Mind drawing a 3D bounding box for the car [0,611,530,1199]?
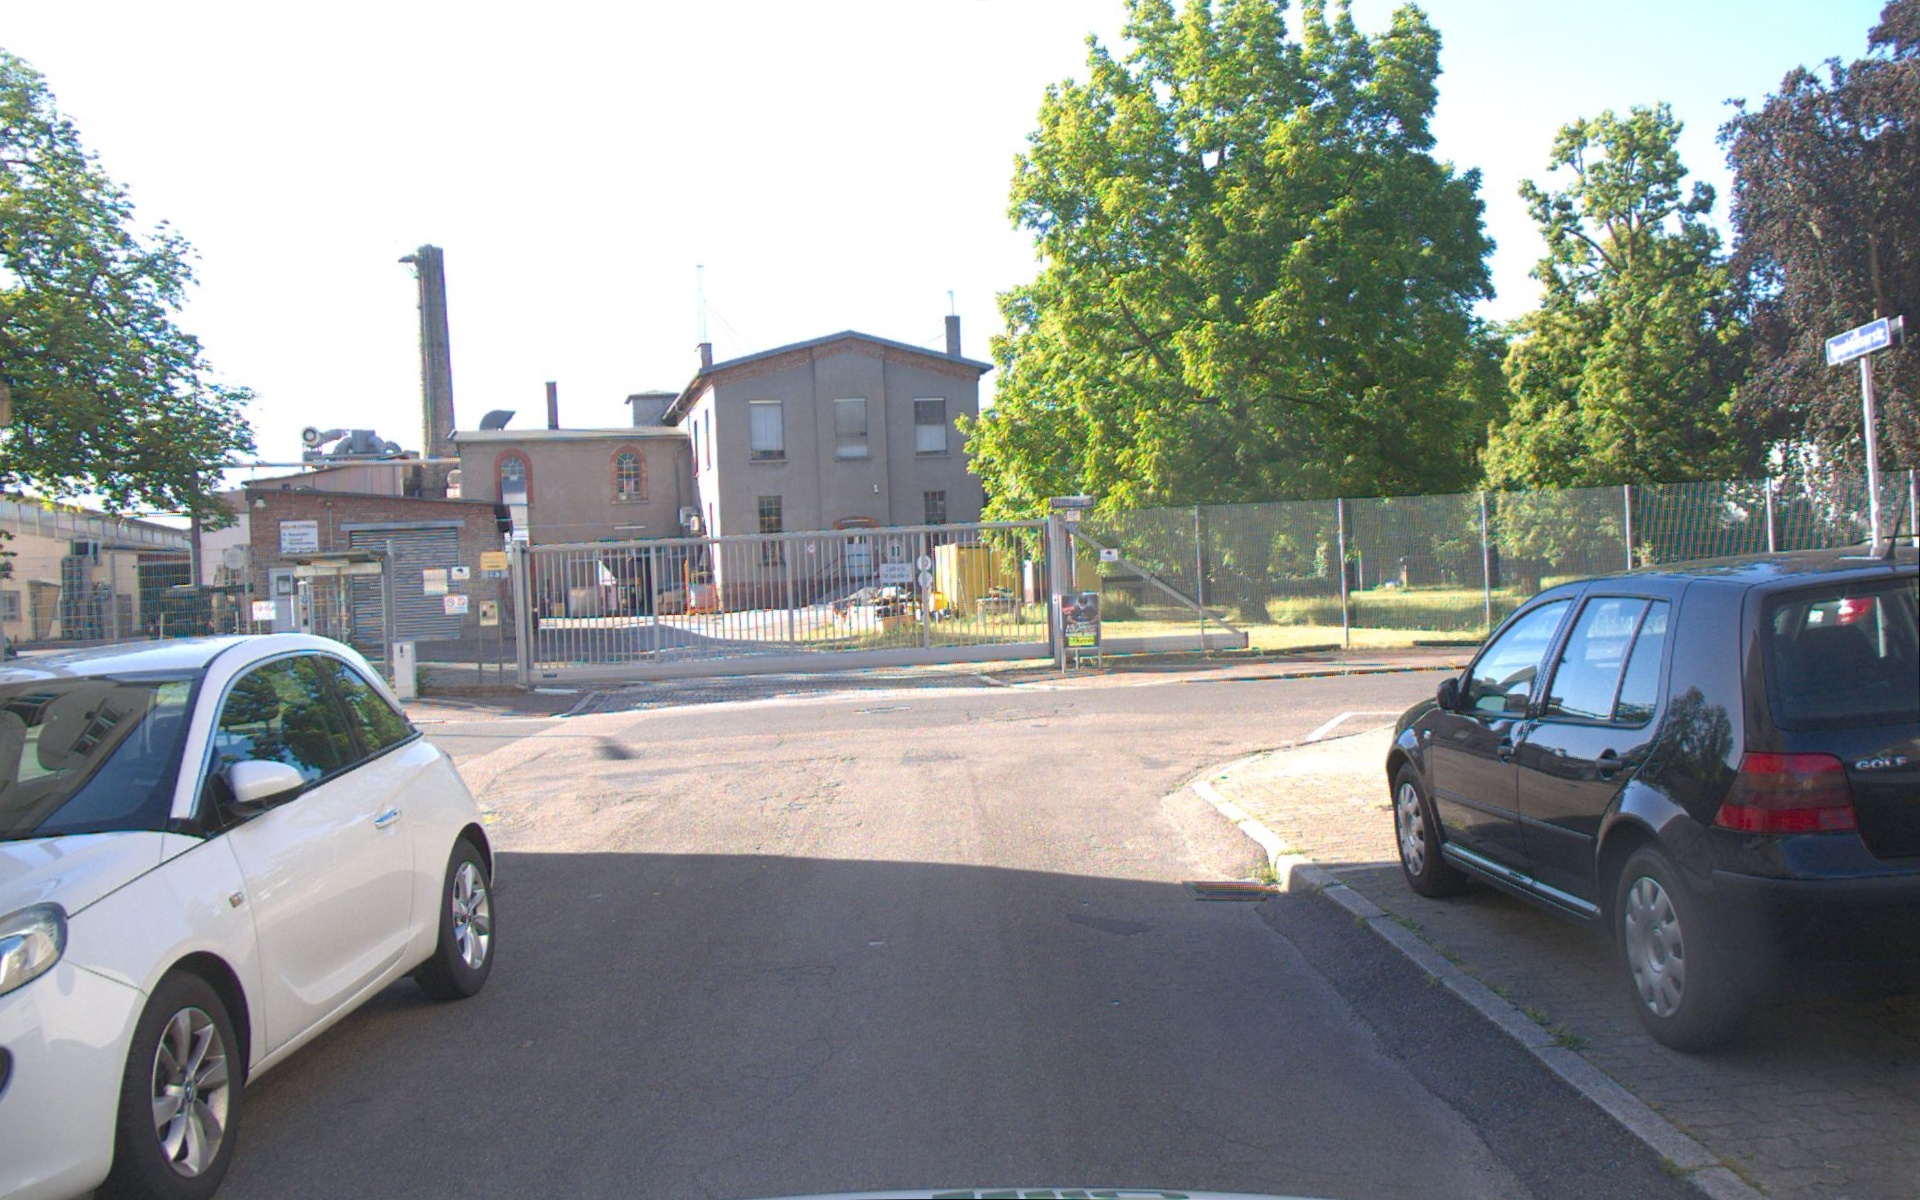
[{"bbox_3d":[-2.724,0.867,5.146,1.652,1.484,3.722,-4,0,1],"label":"car"}]

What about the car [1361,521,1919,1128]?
[{"bbox_3d":[2.947,0.495,6.149,1.762,1.439,4.048,-5,0,-1],"label":"car"}]

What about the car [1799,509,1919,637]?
[{"bbox_3d":[14.610,-0.437,23.846,4.067,1.693,1.717,-3,-3,-2],"label":"car"}]

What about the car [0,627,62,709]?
[{"bbox_3d":[-18.591,1.318,30.440,1.953,1.444,3.999,-3,1,-2],"label":"car"}]

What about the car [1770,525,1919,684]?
[{"bbox_3d":[11.027,-0.031,17.616,3.991,1.575,1.622,-2,0,-3],"label":"car"}]
